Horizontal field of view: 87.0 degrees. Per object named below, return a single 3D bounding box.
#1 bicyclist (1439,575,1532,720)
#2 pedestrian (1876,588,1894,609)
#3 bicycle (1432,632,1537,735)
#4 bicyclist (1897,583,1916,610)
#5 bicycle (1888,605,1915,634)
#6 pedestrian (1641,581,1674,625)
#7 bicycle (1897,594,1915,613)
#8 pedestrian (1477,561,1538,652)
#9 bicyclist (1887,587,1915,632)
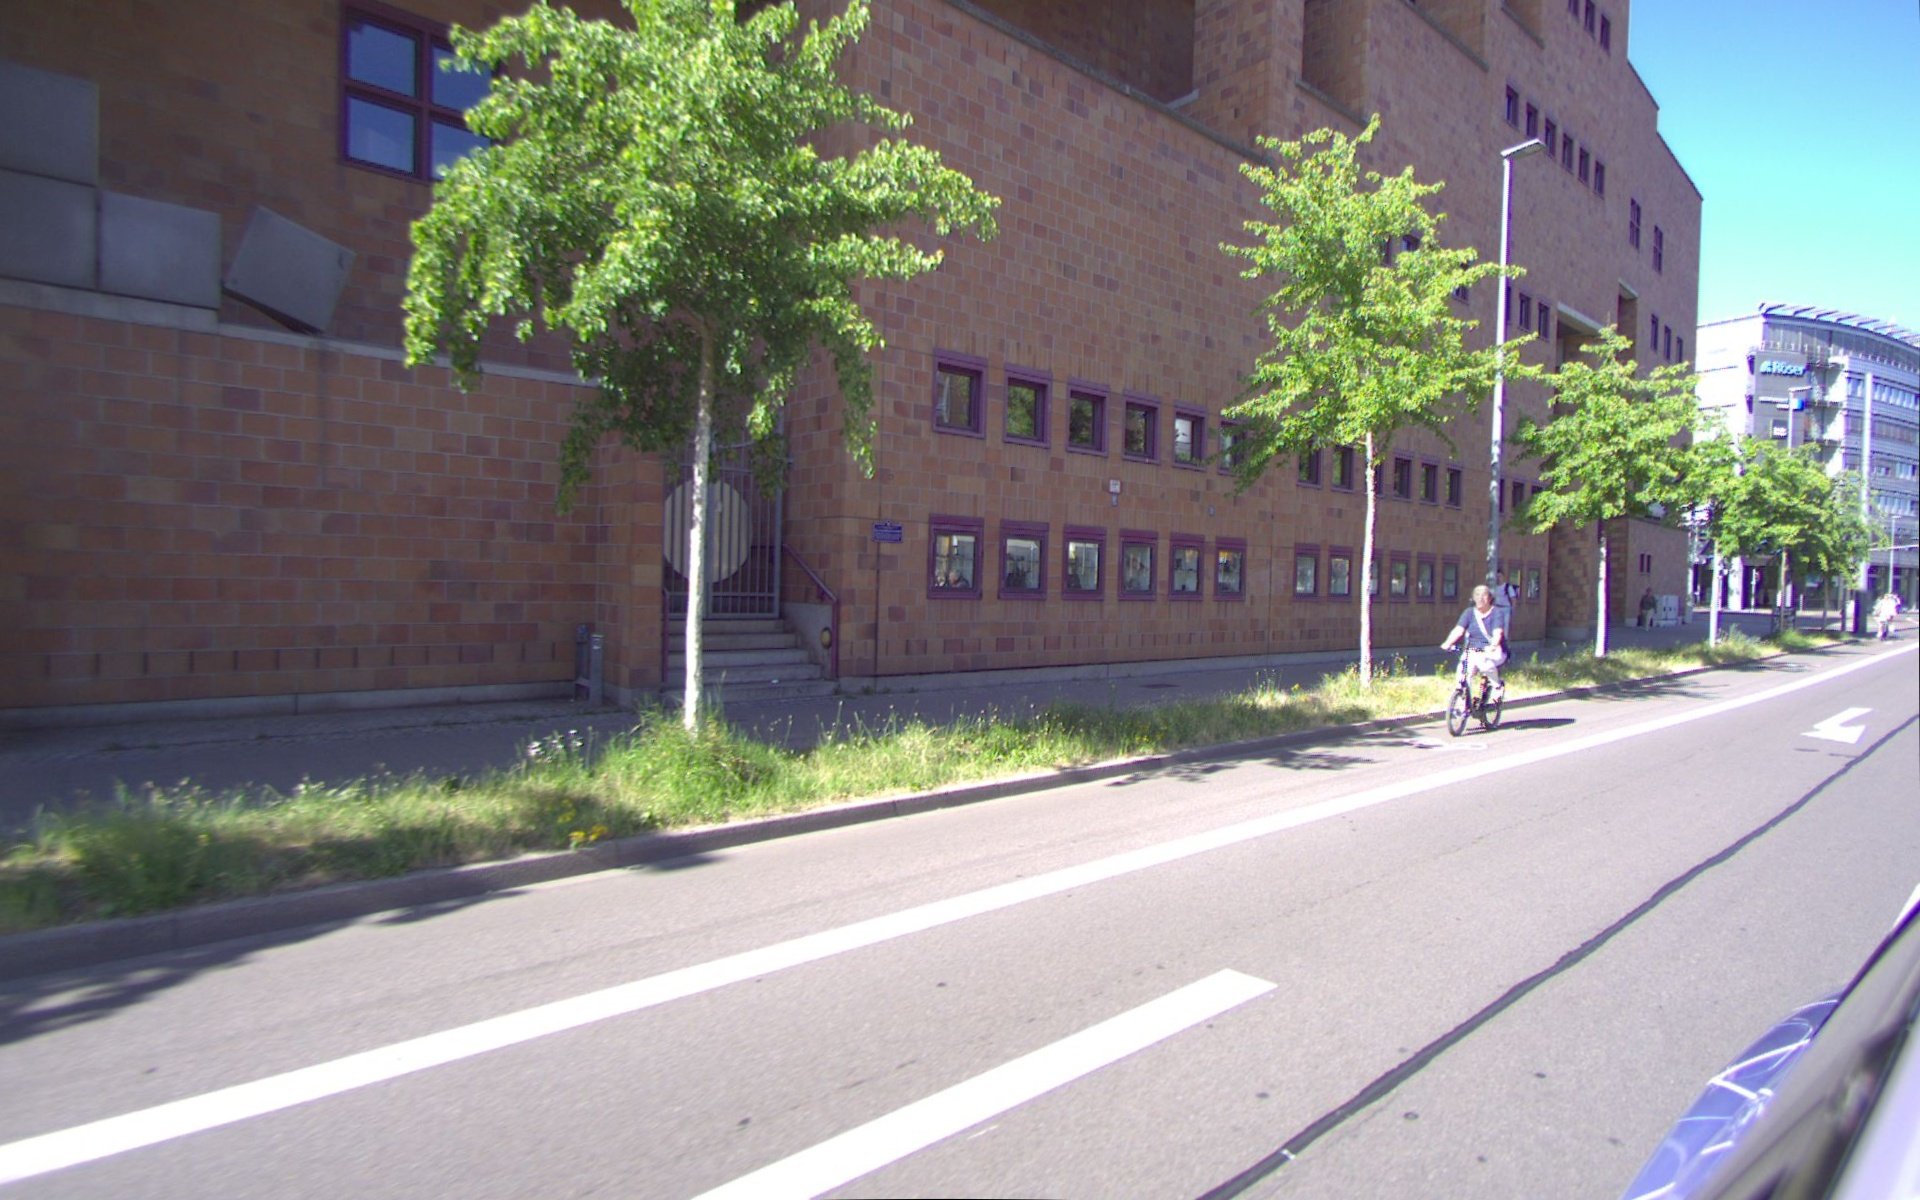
[{"bbox_3d":[5.943,0.513,11.435,0.893,1.557,0.658,0,0,-41],"label":"bicyclist"},{"bbox_3d":[77.931,-0.108,85.291,0.784,1.708,0.862,1,2,-28],"label":"pedestrian"},{"bbox_3d":[5.923,0.904,11.398,1.481,1.040,0.558,0,0,-42],"label":"bicycle"},{"bbox_3d":[57.699,-0.192,61.695,0.748,1.637,0.755,0,0,-38],"label":"bicyclist"},{"bbox_3d":[37.309,0.756,40.089,1.480,1.110,0.578,0,0,-39],"label":"bicycle"},{"bbox_3d":[26.560,0.111,38.533,0.960,1.639,0.789,0,2,-43],"label":"pedestrian"},{"bbox_3d":[57.637,0.218,61.636,1.480,1.110,0.578,0,0,-39],"label":"bicycle"},{"bbox_3d":[11.869,0.120,21.926,1.087,1.906,0.789,0,2,-41],"label":"pedestrian"},{"bbox_3d":[37.186,0.383,39.988,0.893,1.750,0.684,0,0,-39],"label":"bicyclist"}]
